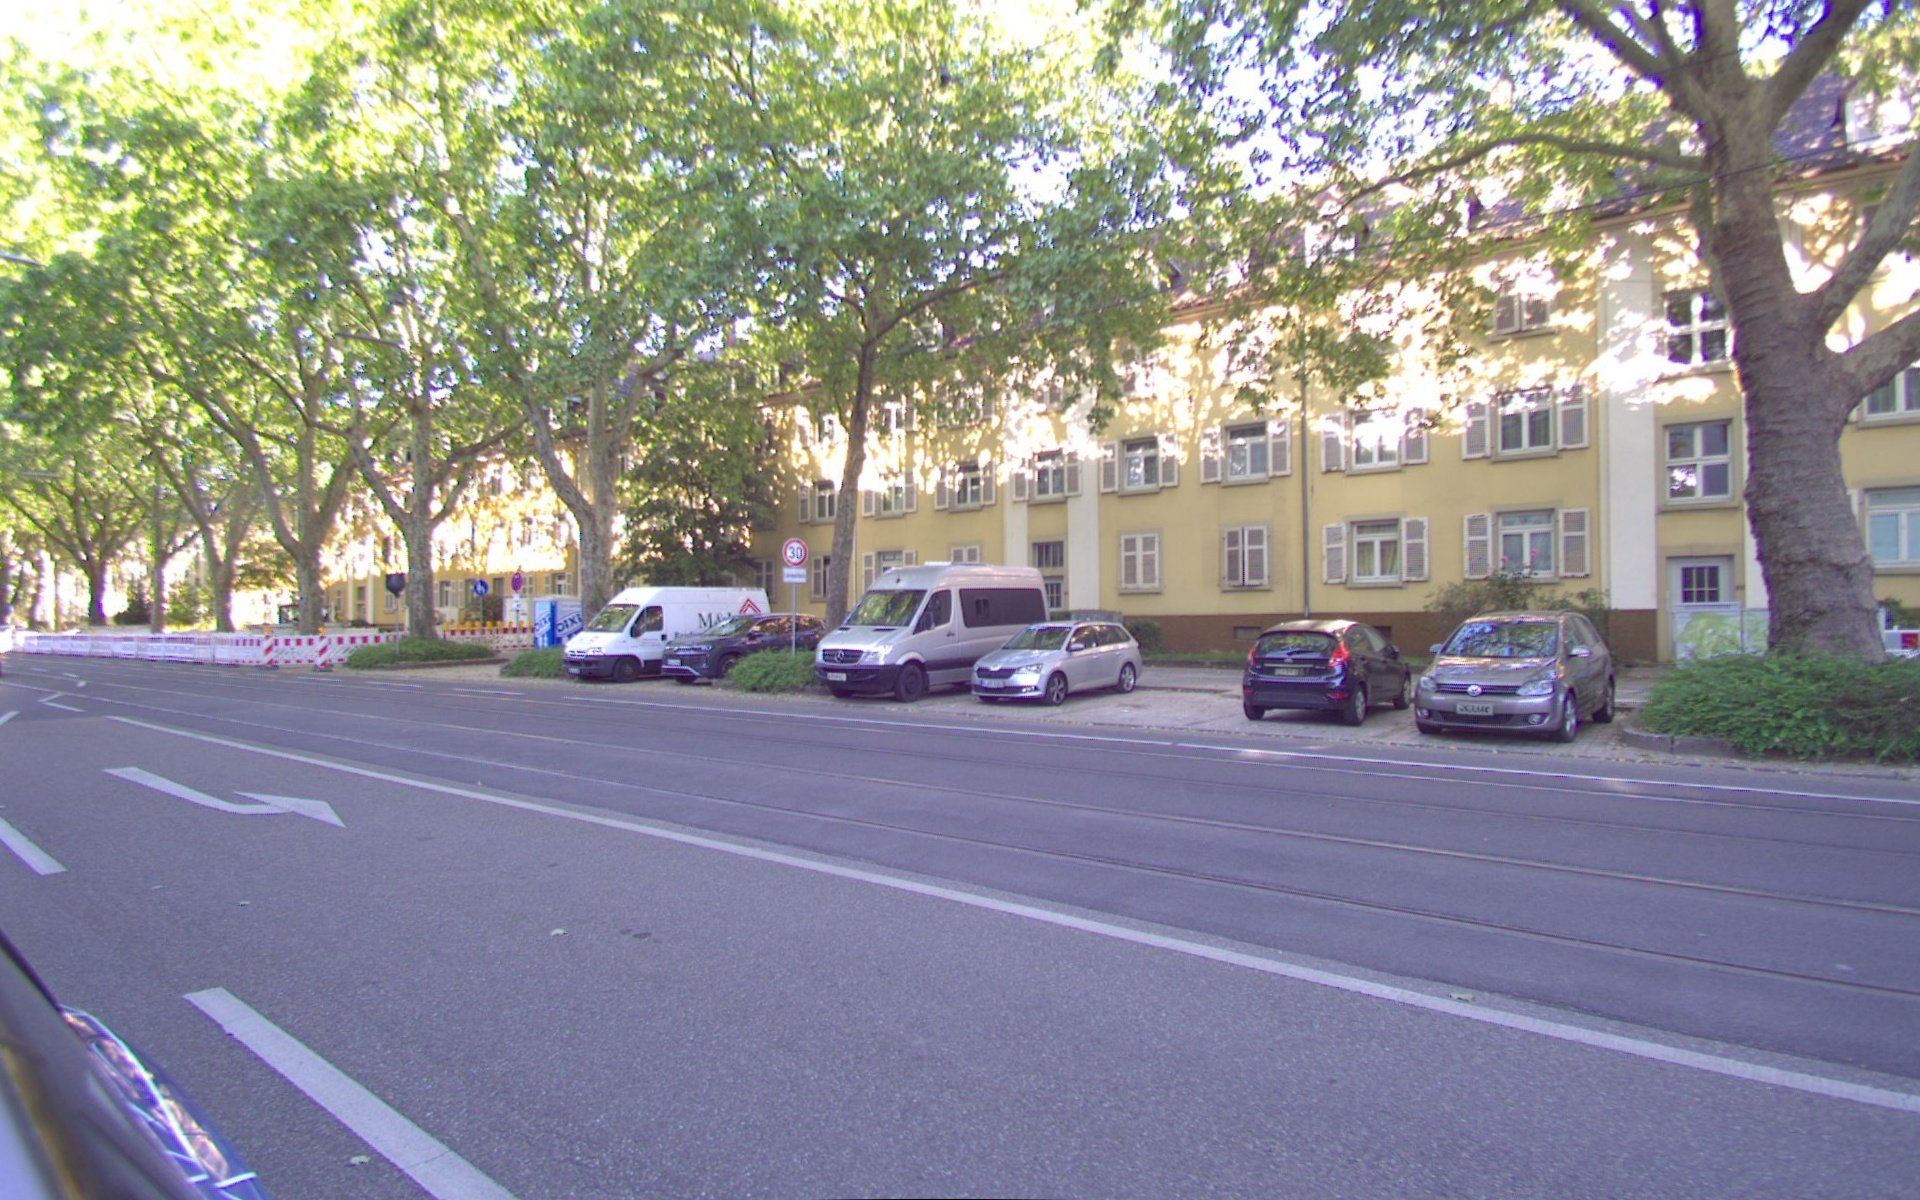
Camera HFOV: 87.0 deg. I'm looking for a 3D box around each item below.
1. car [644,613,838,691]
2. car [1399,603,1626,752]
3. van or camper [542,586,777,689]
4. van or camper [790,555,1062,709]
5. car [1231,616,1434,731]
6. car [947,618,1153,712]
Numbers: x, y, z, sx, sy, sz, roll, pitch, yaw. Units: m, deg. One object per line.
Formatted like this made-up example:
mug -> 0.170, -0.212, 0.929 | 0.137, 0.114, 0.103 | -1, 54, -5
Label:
car -> -5.184, 1.175, 24.493 | 1.693, 1.645, 4.481 | -1, 0, 41
car -> 7.466, 0.879, 13.489 | 1.843, 1.631, 4.028 | -1, 0, 41
van or camper -> -7.700, 0.863, 26.504 | 2.154, 2.403, 5.690 | -1, 0, 40
van or camper -> -0.475, 0.535, 20.500 | 2.154, 2.668, 5.857 | -1, 0, 40
car -> 5.809, 1.022, 15.548 | 1.693, 1.457, 3.811 | -1, 0, 41
car -> 1.794, 1.119, 18.944 | 1.693, 1.457, 4.221 | -1, 0, 41
